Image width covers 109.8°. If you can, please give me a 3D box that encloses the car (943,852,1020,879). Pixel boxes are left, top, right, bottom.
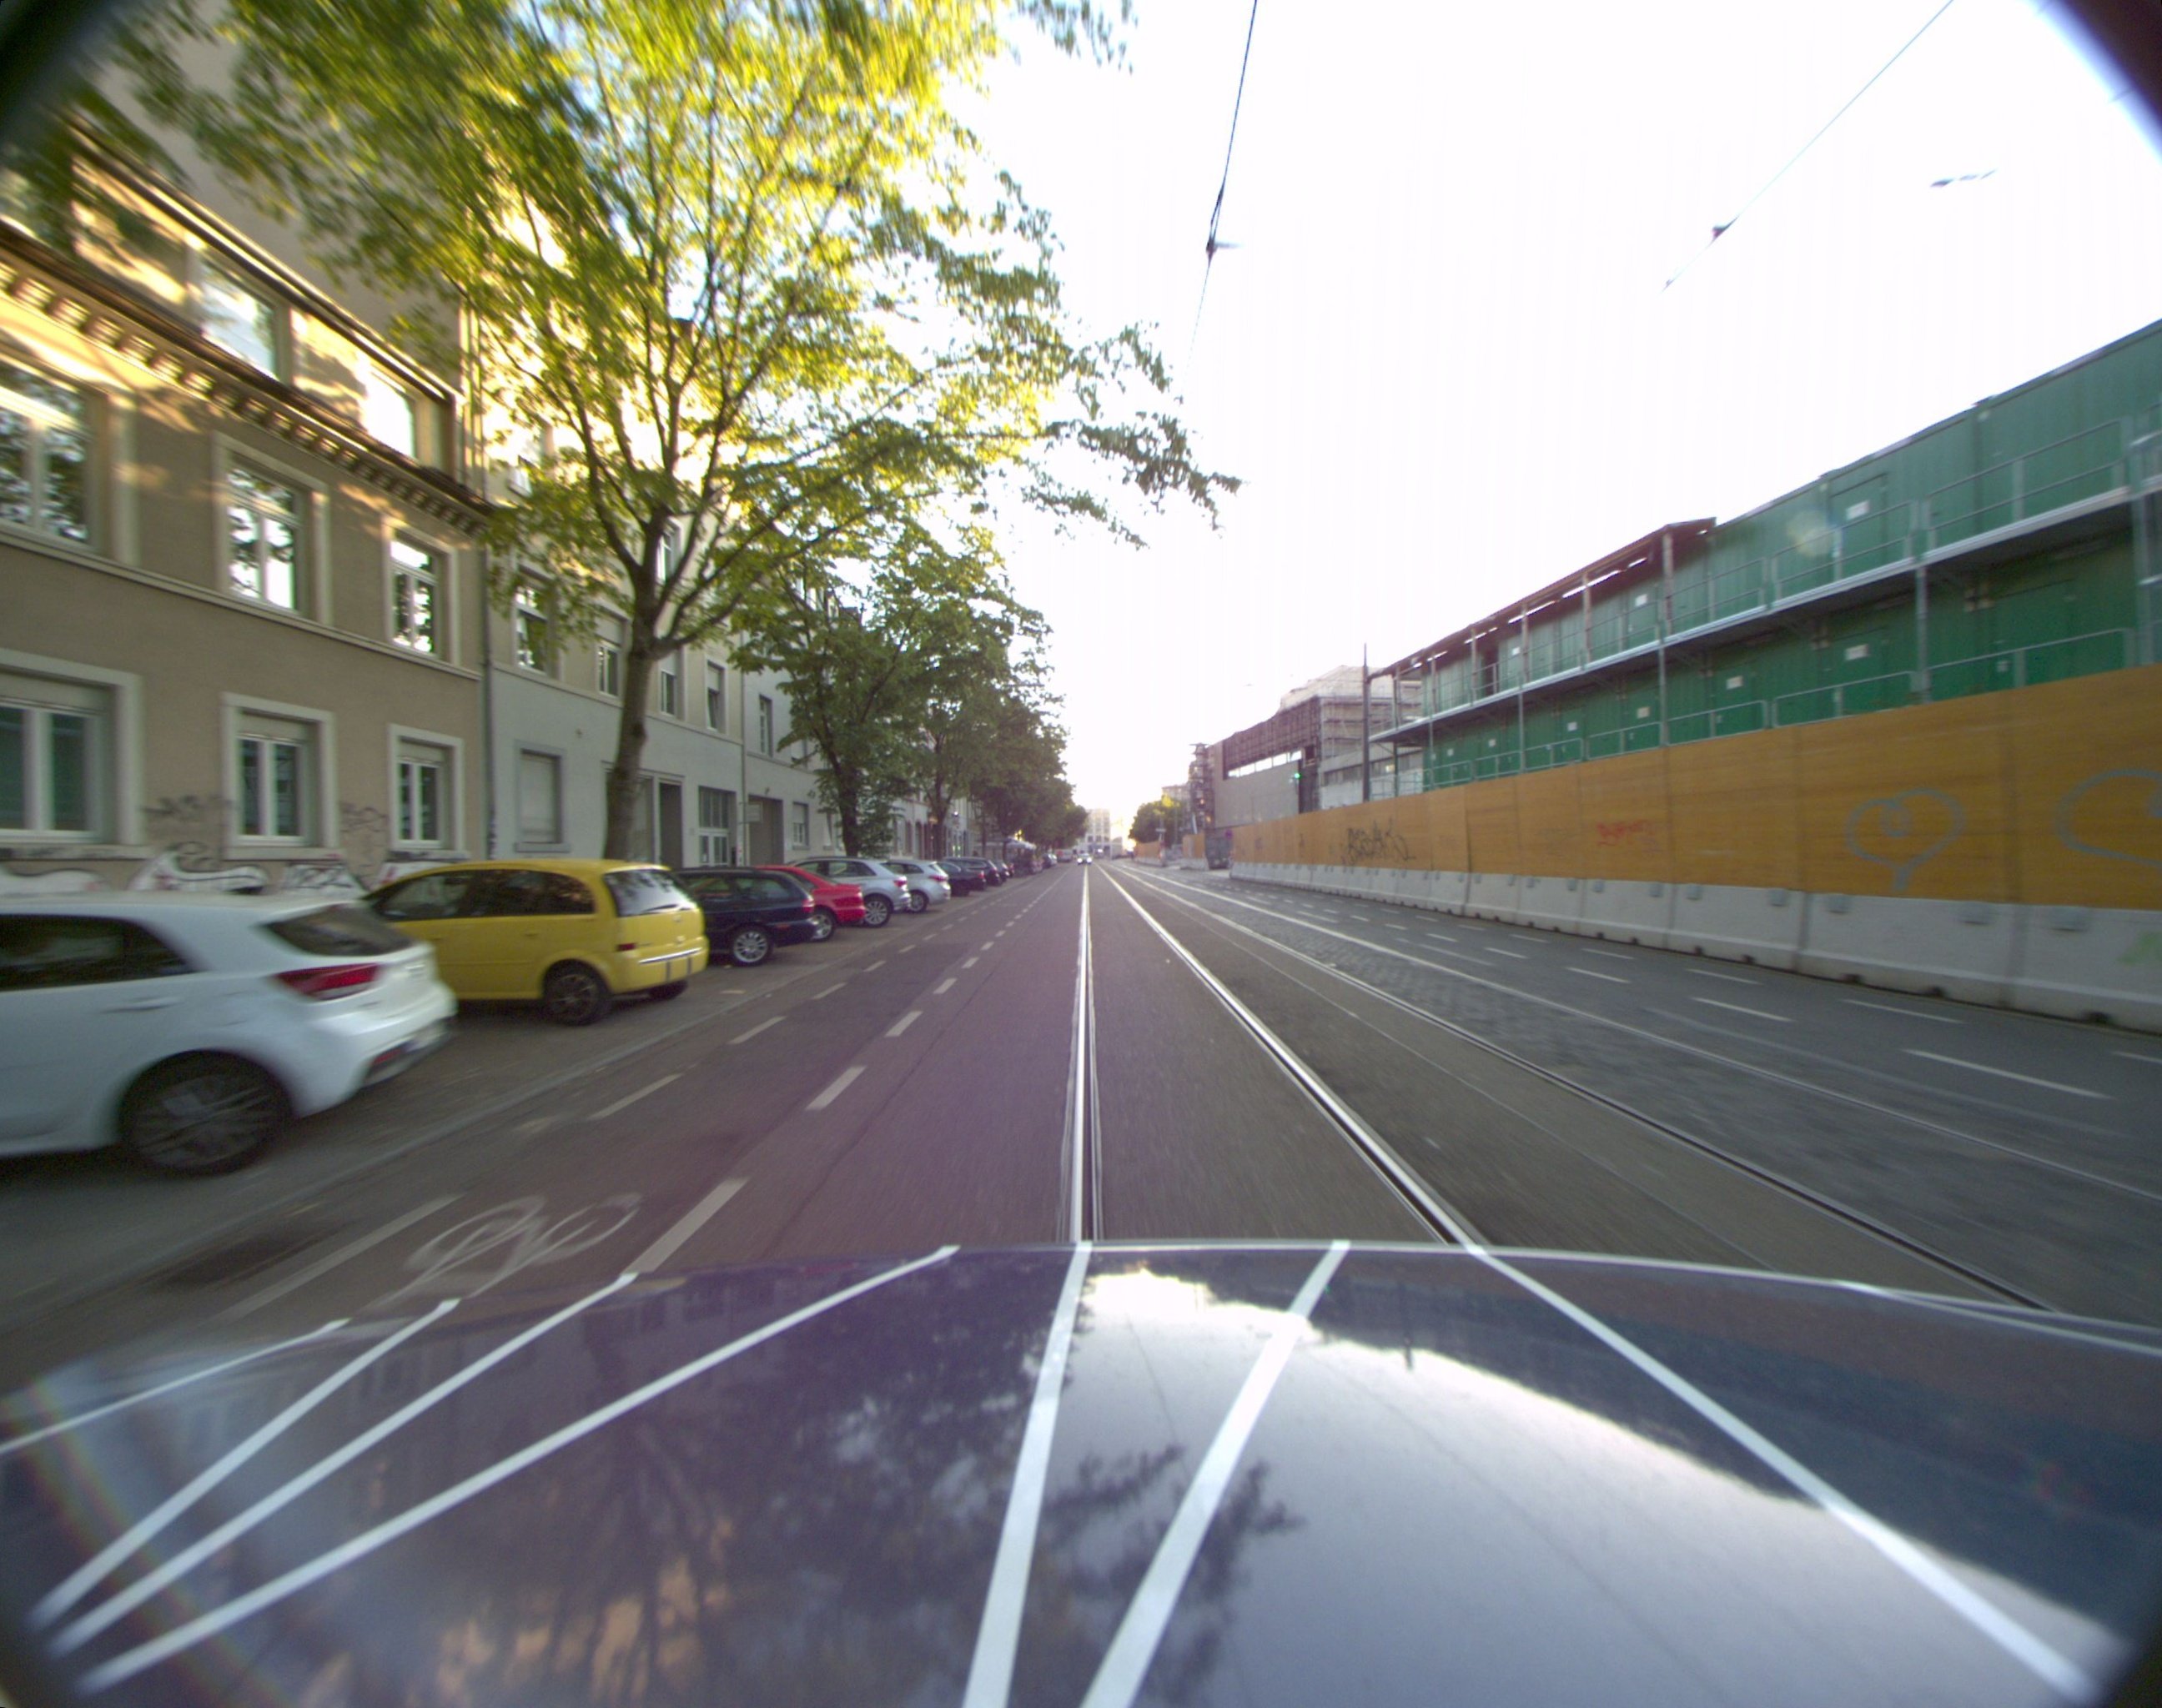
[{"bbox_3d":[-5.753,0.664,43.840,4.178,1.418,1.820,2,0,-17],"label":"car"}]

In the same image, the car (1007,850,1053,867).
[{"bbox_3d":[-4.845,0.412,71.826,3.979,1.544,1.702,1,0,-25],"label":"car"}]

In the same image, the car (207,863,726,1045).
[{"bbox_3d":[-6.199,0.949,8.068,3.960,1.610,1.921,1,1,1],"label":"car"}]

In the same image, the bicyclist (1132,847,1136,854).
[{"bbox_3d":[12.822,-0.779,183.284,0.770,1.656,1.018,-1,0,0],"label":"bicyclist"}]

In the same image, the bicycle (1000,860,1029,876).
[{"bbox_3d":[-4.619,0.974,52.717,1.891,1.025,0.608,2,0,-1],"label":"bicycle"}]

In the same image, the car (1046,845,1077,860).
[{"bbox_3d":[-3.742,-0.312,147.175,5.650,2.678,2.166,-1,0,-34],"label":"car"}]

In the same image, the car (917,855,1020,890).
[{"bbox_3d":[-5.050,0.824,34.118,4.135,1.462,2.011,2,0,-24],"label":"car"}]

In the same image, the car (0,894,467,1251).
[{"bbox_3d":[-6.047,1.049,4.012,3.968,1.478,1.916,0,1,-23],"label":"car"}]

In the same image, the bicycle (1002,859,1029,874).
[{"bbox_3d":[-4.662,0.880,54.075,1.891,1.025,0.608,2,0,-1],"label":"bicycle"}]

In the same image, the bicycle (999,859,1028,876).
[{"bbox_3d":[-4.631,0.926,52.026,1.891,1.061,0.674,2,0,-1],"label":"bicycle"}]

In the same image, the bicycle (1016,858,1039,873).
[{"bbox_3d":[-4.122,0.888,58.731,1.683,1.025,0.557,2,0,-1],"label":"bicycle"}]

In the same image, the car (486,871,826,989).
[{"bbox_3d":[-6.117,1.019,11.448,4.140,1.416,1.916,0,1,-25],"label":"car"}]

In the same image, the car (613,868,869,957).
[{"bbox_3d":[-6.283,1.003,14.361,4.140,1.416,1.893,0,1,-25],"label":"car"}]

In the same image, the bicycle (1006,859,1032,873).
[{"bbox_3d":[-4.641,0.886,56.976,1.820,1.025,0.608,2,0,-1],"label":"bicycle"}]

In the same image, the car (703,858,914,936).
[{"bbox_3d":[-6.115,0.896,17.252,4.269,1.551,1.894,0,1,-22],"label":"car"}]

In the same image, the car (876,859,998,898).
[{"bbox_3d":[-5.563,0.896,29.405,4.270,1.384,2.011,0,1,-26],"label":"car"}]

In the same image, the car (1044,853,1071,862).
[{"bbox_3d":[-4.296,0.608,140.686,4.613,1.504,1.859,1,-1,-22],"label":"car"}]

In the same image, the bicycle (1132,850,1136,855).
[{"bbox_3d":[12.835,-0.361,183.250,0.770,1.221,1.936,-1,0,0],"label":"bicycle"}]

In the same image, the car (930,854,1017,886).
[{"bbox_3d":[-5.545,0.822,39.032,4.133,1.462,1.821,2,0,-17],"label":"car"}]

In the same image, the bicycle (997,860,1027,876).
[{"bbox_3d":[-4.600,0.918,50.745,1.908,1.025,0.533,2,0,-1],"label":"bicycle"}]

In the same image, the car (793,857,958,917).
[{"bbox_3d":[-5.630,0.888,21.328,4.265,1.540,2.017,0,1,-10],"label":"car"}]

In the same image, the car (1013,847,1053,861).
[{"bbox_3d":[-6.411,-0.030,101.225,4.984,1.816,2.204,1,0,-17],"label":"car"}]

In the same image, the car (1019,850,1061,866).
[{"bbox_3d":[-4.625,0.464,85.879,4.662,1.678,2.007,-1,1,-4],"label":"car"}]

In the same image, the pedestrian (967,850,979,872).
[{"bbox_3d":[-8.921,0.554,62.736,0.705,1.753,0.713,-2,1,-27],"label":"pedestrian"}]

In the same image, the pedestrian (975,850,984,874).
[{"bbox_3d":[-7.659,0.578,57.358,0.552,1.753,0.894,-2,1,0],"label":"pedestrian"}]

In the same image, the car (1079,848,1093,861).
[{"bbox_3d":[0.717,0.025,106.319,1.840,1.631,4.169,-4,0,1],"label":"car"}]

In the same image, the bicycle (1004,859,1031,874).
[{"bbox_3d":[-4.656,0.909,55.468,1.891,1.025,0.608,2,0,-1],"label":"bicycle"}]

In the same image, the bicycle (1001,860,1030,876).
[{"bbox_3d":[-4.597,0.986,53.400,1.891,1.025,0.608,2,0,-1],"label":"bicycle"}]

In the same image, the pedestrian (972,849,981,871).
[{"bbox_3d":[-8.376,0.447,61.005,0.553,1.753,0.851,-2,1,-16],"label":"pedestrian"}]

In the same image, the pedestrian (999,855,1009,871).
[{"bbox_3d":[-6.279,0.708,62.066,0.553,1.298,0.713,0,1,-27],"label":"pedestrian"}]

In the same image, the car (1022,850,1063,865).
[{"bbox_3d":[-4.488,0.427,89.114,4.660,1.678,2.008,1,0,0],"label":"car"}]

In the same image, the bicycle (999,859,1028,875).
[{"bbox_3d":[-4.558,0.880,51.356,1.868,1.025,0.591,2,0,-2],"label":"bicycle"}]

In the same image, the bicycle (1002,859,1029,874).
[{"bbox_3d":[-4.701,0.895,54.744,1.891,1.025,0.608,2,0,-1],"label":"bicycle"}]

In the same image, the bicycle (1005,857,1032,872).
[{"bbox_3d":[-4.641,0.789,56.243,1.891,1.025,0.608,2,0,-1],"label":"bicycle"}]
